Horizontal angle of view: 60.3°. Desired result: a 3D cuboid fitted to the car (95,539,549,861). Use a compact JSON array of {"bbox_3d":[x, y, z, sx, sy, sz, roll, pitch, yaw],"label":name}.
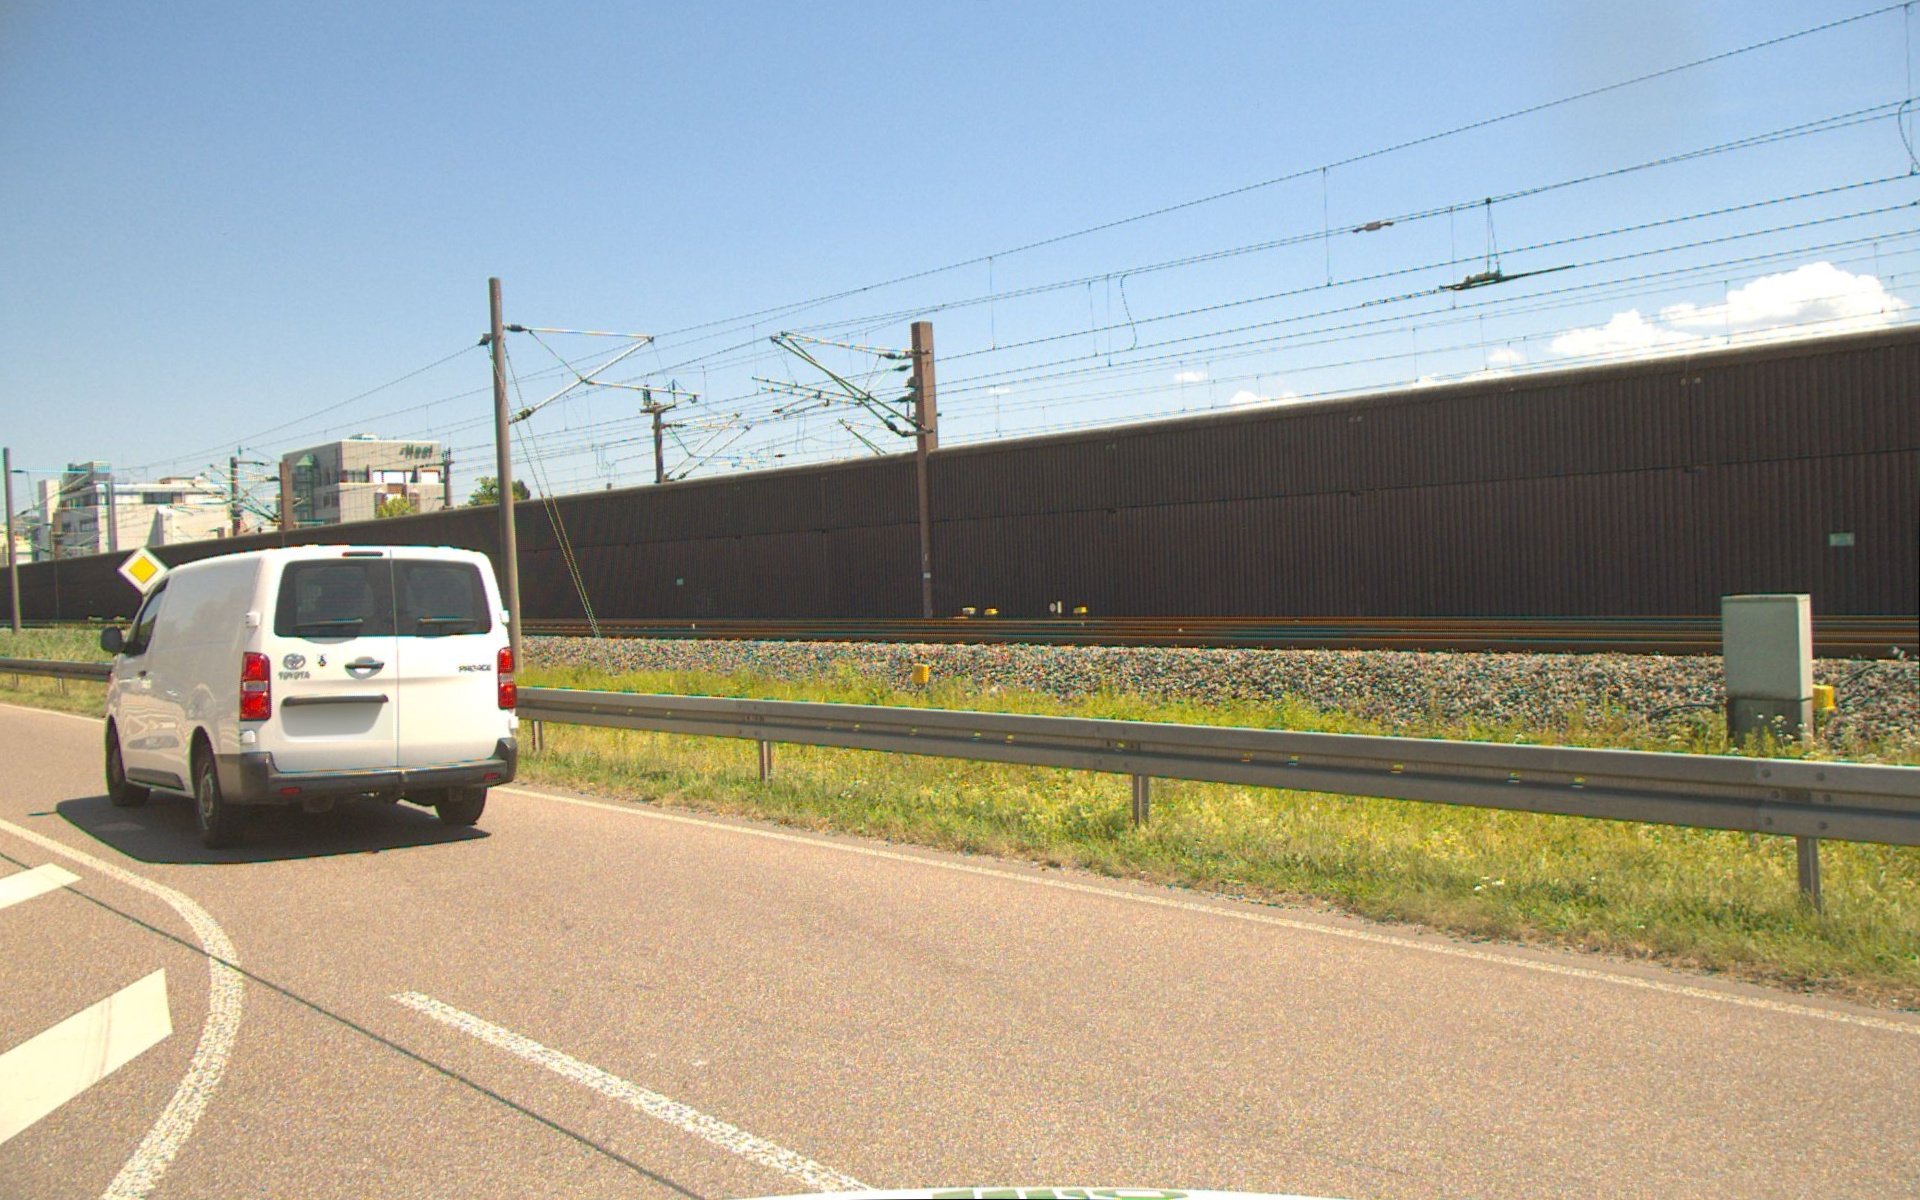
[{"bbox_3d":[-4.950,0.628,12.348,1.931,1.914,4.816,0,-1,-37],"label":"car"}]
